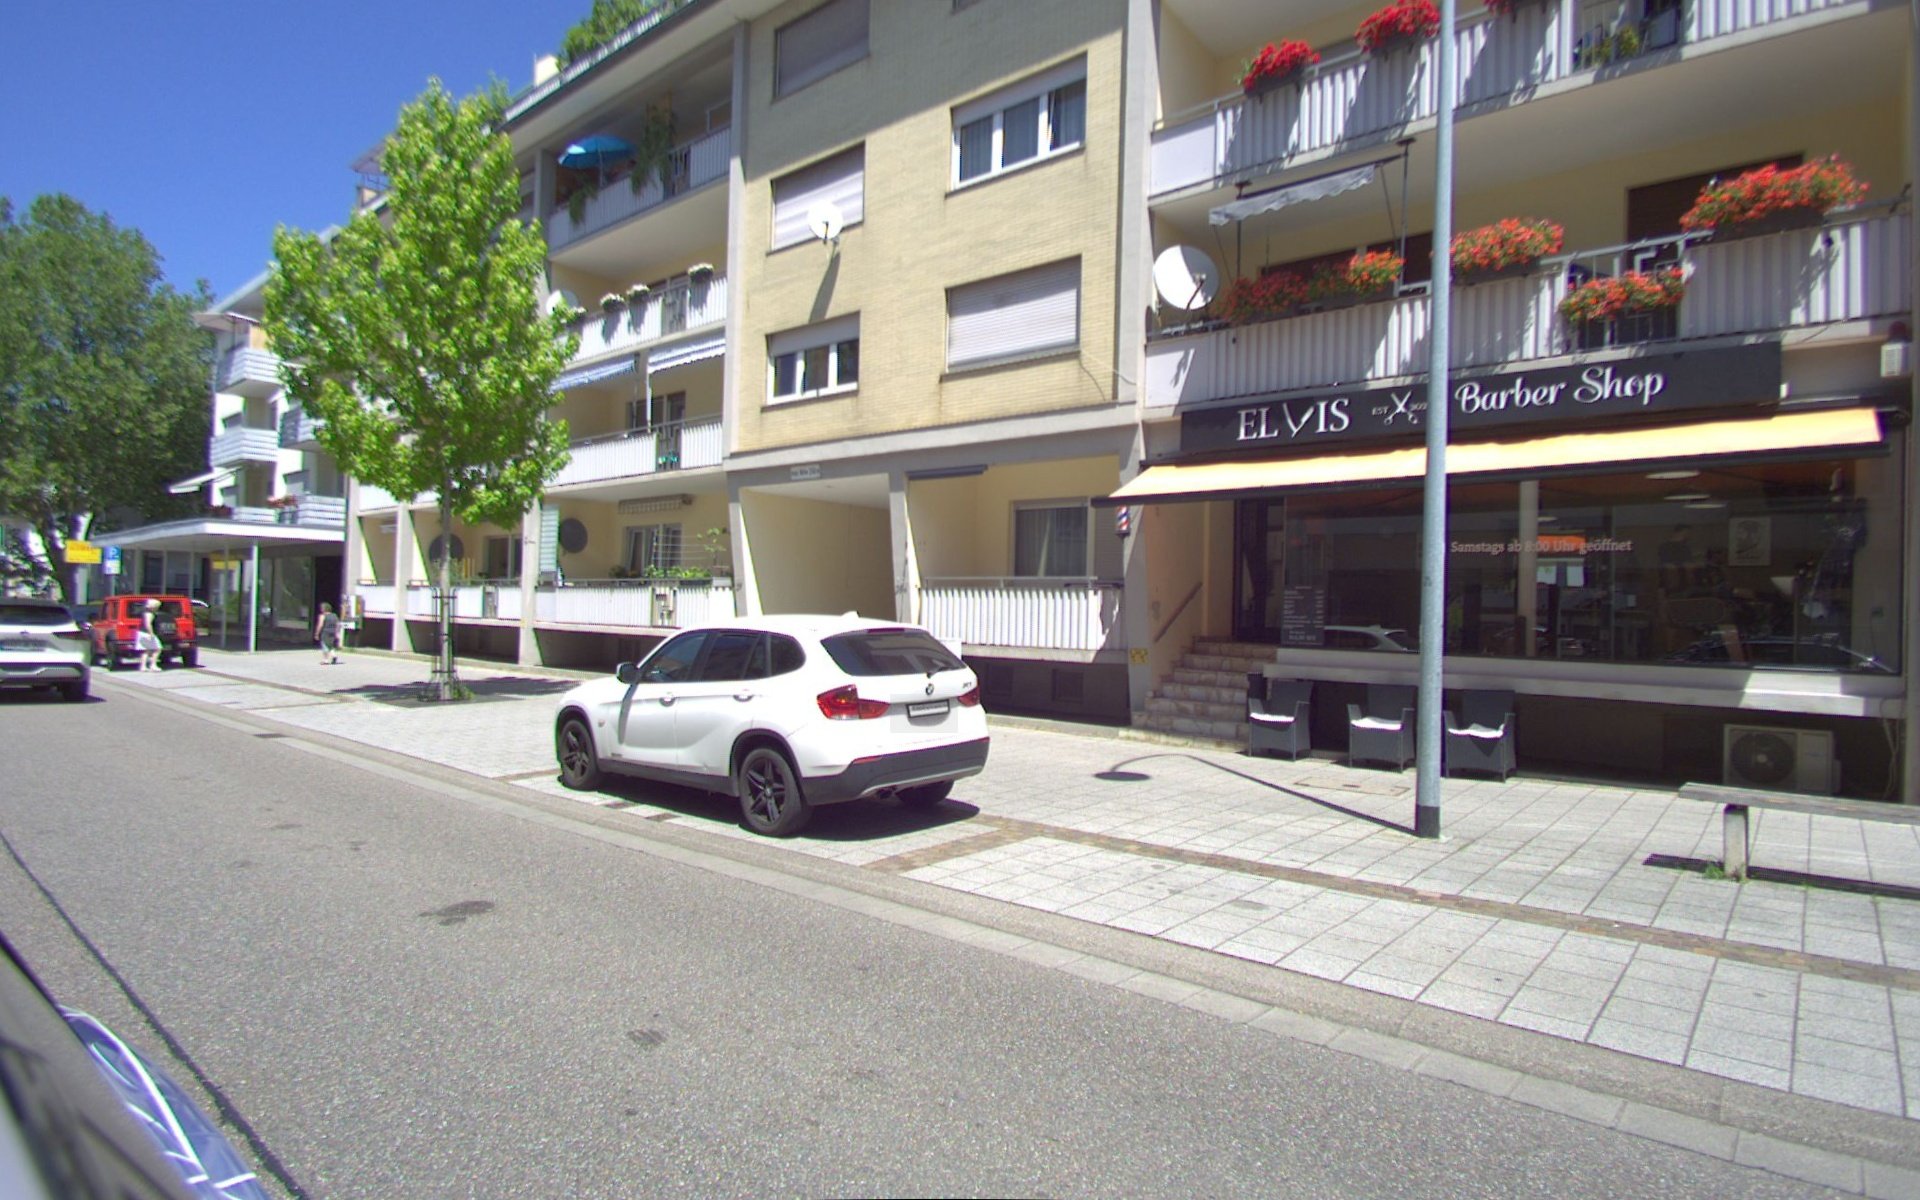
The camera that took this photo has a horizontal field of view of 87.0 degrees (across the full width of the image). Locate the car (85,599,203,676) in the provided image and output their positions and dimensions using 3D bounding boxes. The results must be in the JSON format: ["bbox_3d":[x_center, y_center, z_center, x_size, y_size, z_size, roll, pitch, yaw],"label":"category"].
[{"bbox_3d":[-19.201,0.829,23.785,3.369,1.674,1.623,0,0,41],"label":"car"}]

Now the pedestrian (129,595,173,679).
[{"bbox_3d":[-17.748,0.808,22.213,0.658,1.818,0.686,3,-2,-42],"label":"pedestrian"}]

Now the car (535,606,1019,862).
[{"bbox_3d":[-1.710,0.857,8.417,4.298,1.604,1.677,0,-1,42],"label":"car"}]

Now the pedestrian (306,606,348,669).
[{"bbox_3d":[-15.677,0.927,25.069,0.767,1.510,0.698,2,-2,-38],"label":"pedestrian"}]

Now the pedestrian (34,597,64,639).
[{"bbox_3d":[-39.440,0.796,43.830,0.737,1.806,0.635,0,-2,18],"label":"pedestrian"}]

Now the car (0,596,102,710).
[{"bbox_3d":[-15.457,0.799,16.181,4.294,1.645,1.754,0,-5,39],"label":"car"}]
